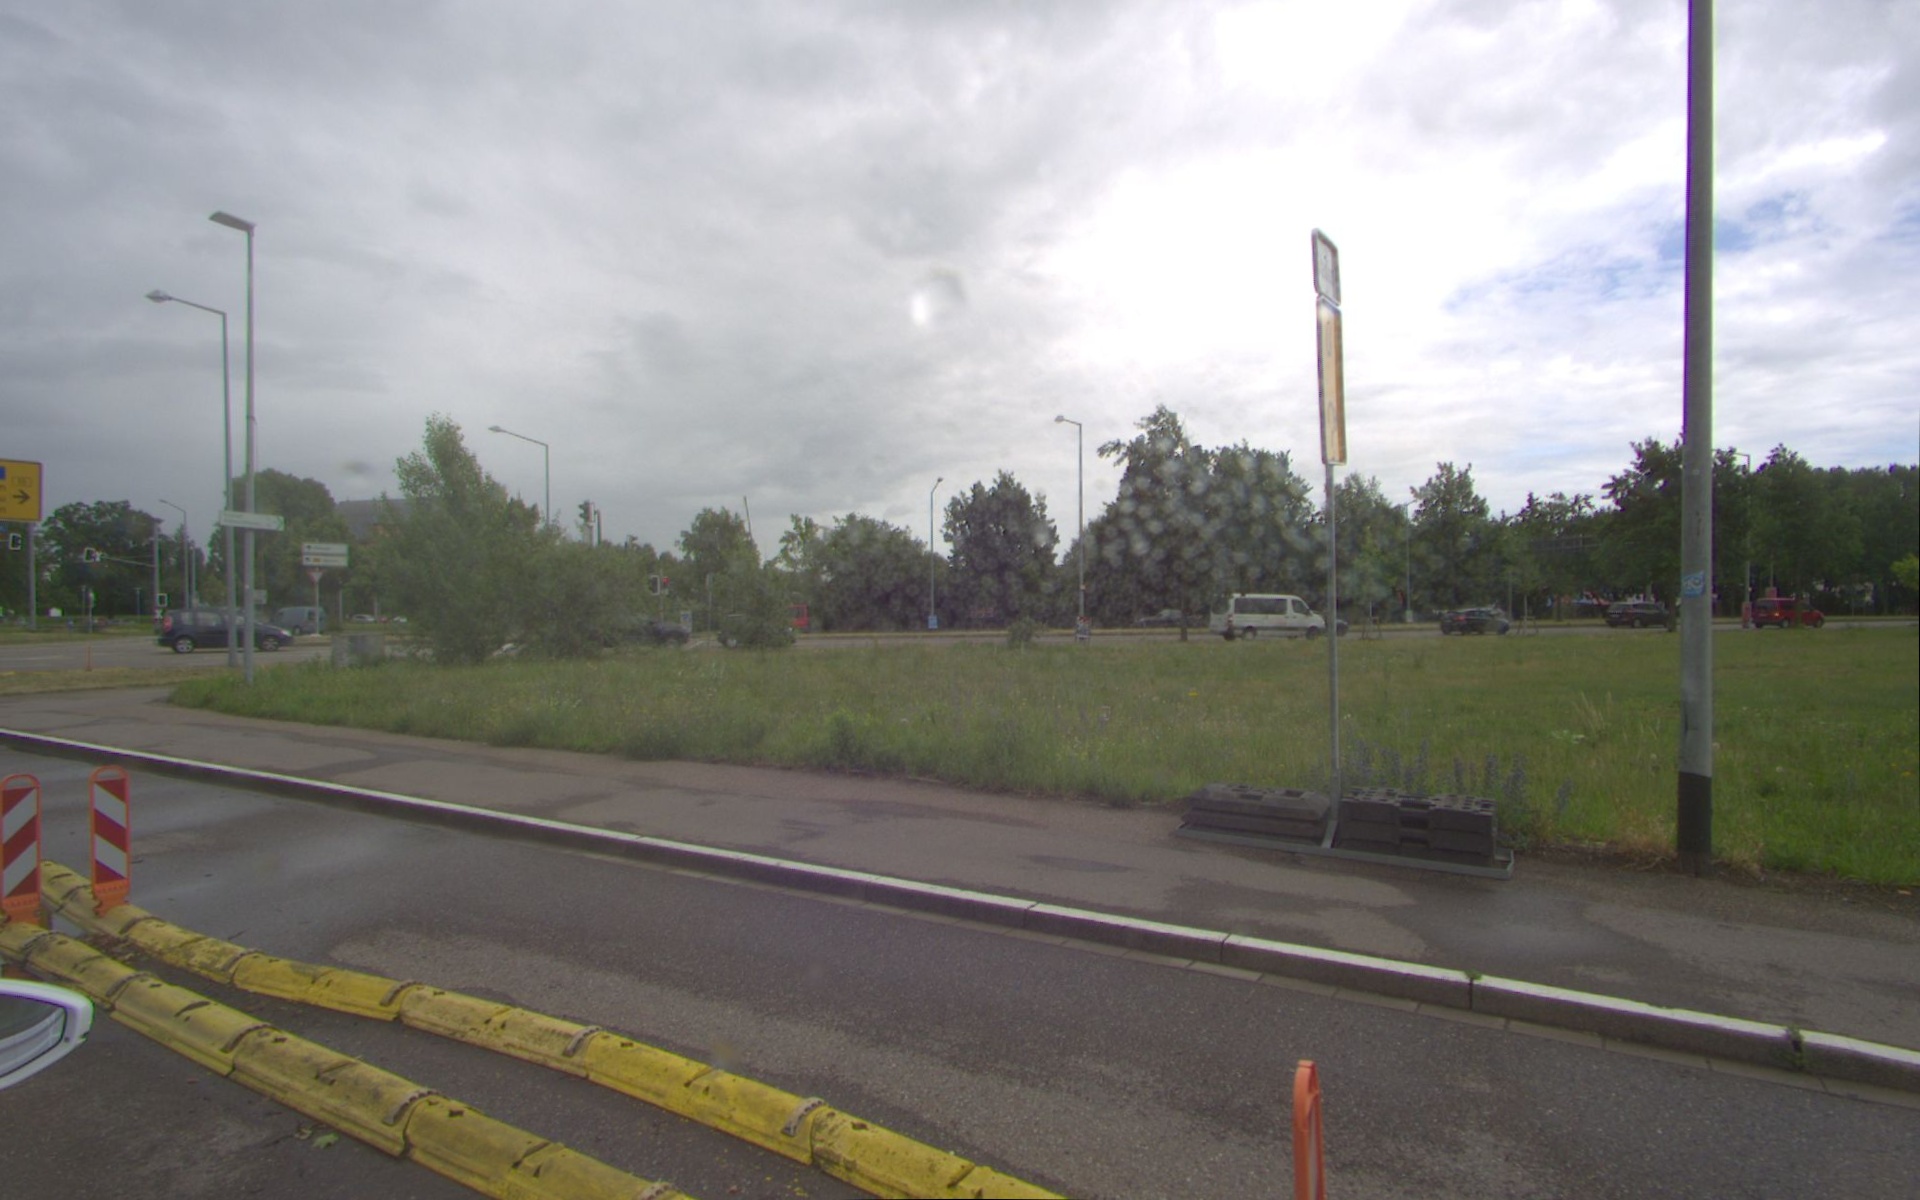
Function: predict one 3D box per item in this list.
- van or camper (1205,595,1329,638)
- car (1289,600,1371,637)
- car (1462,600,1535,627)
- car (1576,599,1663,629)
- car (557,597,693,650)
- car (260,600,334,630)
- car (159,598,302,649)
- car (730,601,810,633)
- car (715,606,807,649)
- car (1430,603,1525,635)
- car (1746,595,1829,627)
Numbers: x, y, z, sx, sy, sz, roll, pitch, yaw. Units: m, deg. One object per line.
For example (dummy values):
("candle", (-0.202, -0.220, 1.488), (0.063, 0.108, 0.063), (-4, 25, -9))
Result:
("van or camper", (15.263, 0.786, 49.865), (5.789, 2.040, 1.996), (0, 0, -16))
("car", (20.835, 1.009, 56.389), (3.928, 2.040, 1.997), (0, 0, -15))
("car", (41.638, 1.013, 77.470), (4.849, 2.040, 1.998), (0, 0, -12))
("car", (41.523, 0.867, 63.050), (4.525, 1.819, 2.112), (0, 0, -15))
("car", (-13.232, 0.898, 39.612), (4.957, 1.998, 2.217), (0, 0, -21))
("car", (-46.030, 1.015, 69.532), (4.398, 2.040, 1.996), (0, 0, 19))
("car", (-27.782, 0.841, 38.188), (4.167, 1.838, 2.057), (0, 0, -44))
("car", (-11.908, 1.026, 62.669), (4.802, 1.943, 2.112), (0, 0, -15))
("car", (-8.903, 1.201, 44.718), (3.927, 1.873, 1.997), (0, 0, -14))
("car", (29.547, 1.066, 57.214), (4.522, 1.819, 2.114), (0, 0, -11))
("car", (51.514, 0.657, 62.343), (4.134, 1.943, 2.111), (0, 0, -18))
